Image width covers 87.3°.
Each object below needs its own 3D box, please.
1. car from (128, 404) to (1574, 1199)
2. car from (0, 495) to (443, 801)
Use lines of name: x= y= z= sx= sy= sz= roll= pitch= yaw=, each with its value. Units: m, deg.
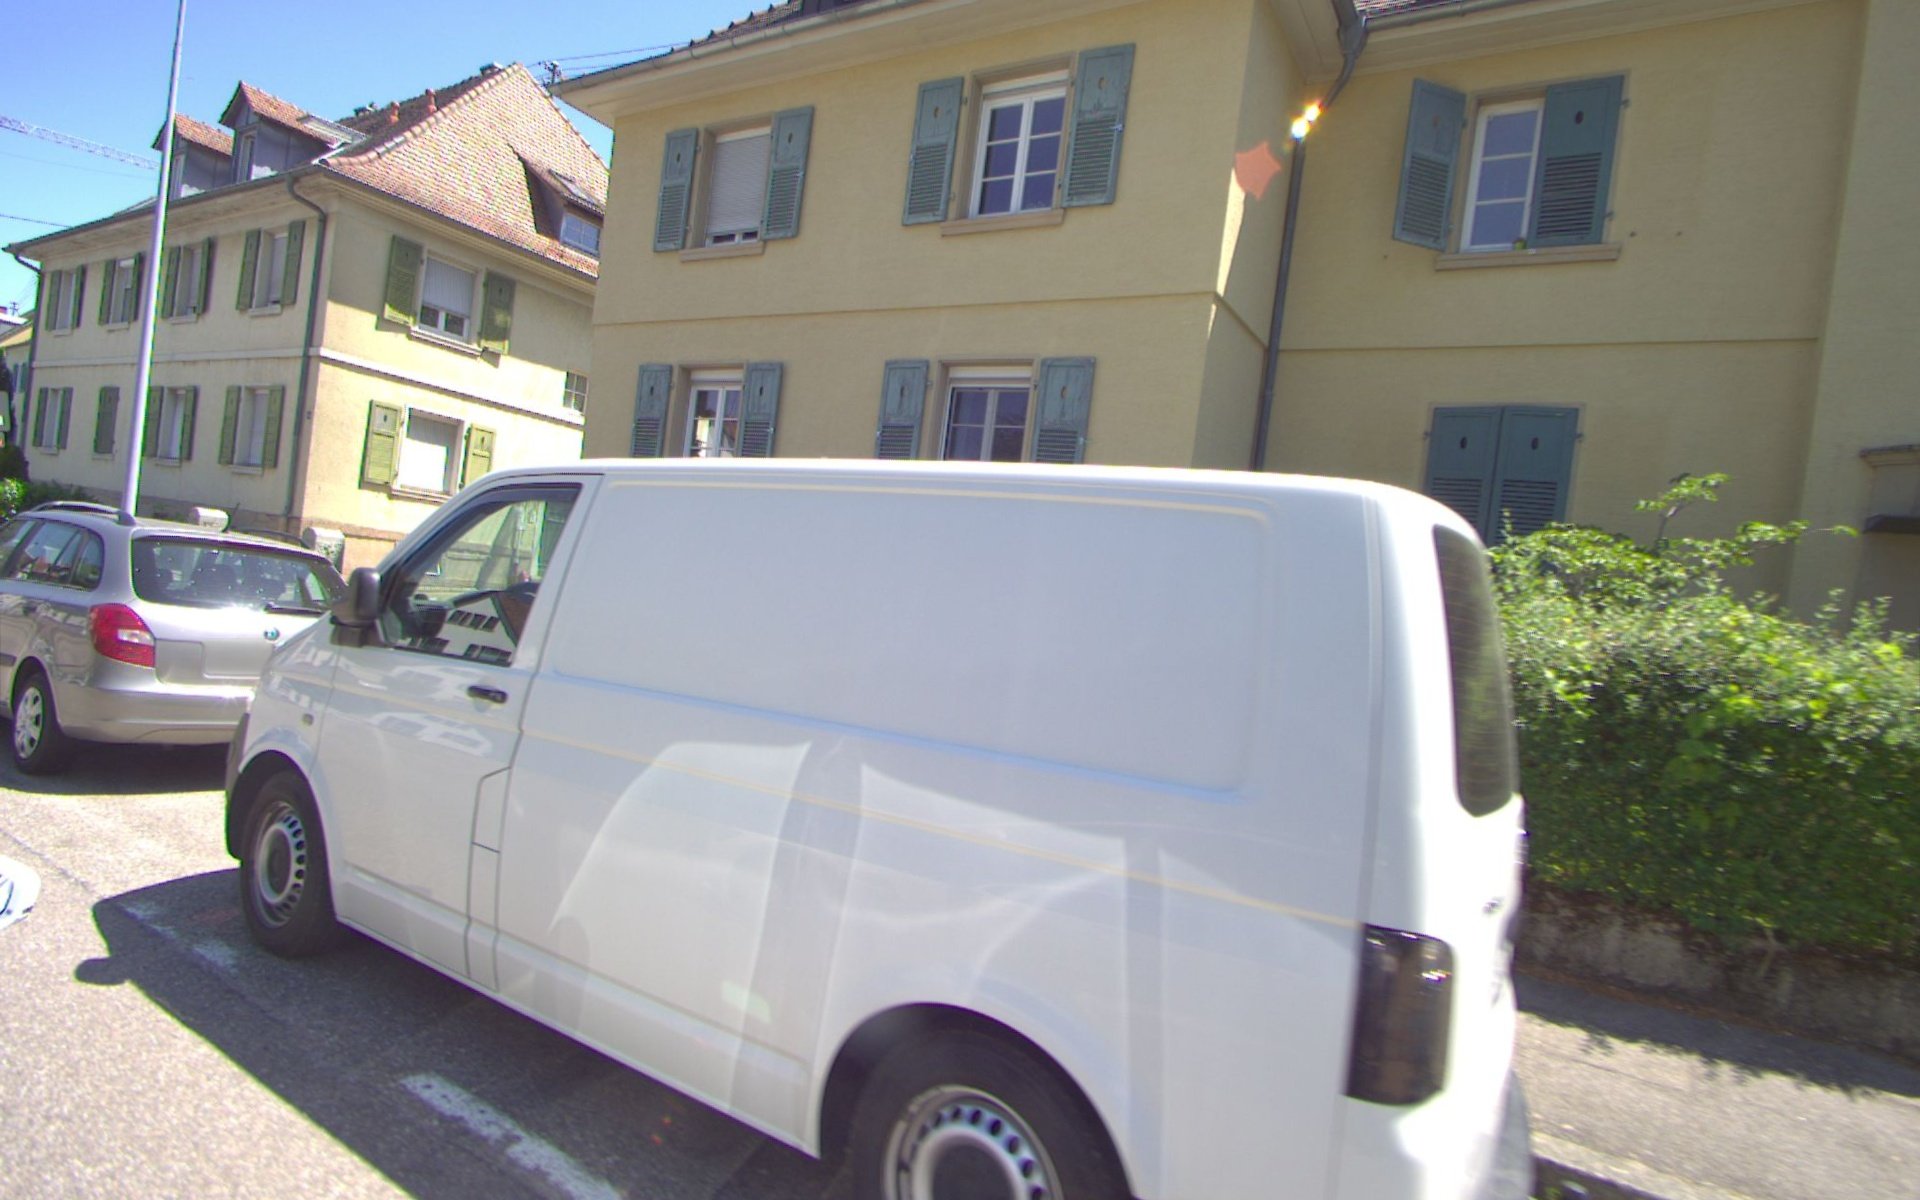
car: x=-0.680 y=0.533 z=3.632 sx=4.743 sy=1.922 sz=1.998 roll=7 pitch=-2 yaw=32
car: x=-5.688 y=0.145 z=6.917 sx=4.152 sy=1.469 sz=1.764 roll=7 pitch=-1 yaw=31
